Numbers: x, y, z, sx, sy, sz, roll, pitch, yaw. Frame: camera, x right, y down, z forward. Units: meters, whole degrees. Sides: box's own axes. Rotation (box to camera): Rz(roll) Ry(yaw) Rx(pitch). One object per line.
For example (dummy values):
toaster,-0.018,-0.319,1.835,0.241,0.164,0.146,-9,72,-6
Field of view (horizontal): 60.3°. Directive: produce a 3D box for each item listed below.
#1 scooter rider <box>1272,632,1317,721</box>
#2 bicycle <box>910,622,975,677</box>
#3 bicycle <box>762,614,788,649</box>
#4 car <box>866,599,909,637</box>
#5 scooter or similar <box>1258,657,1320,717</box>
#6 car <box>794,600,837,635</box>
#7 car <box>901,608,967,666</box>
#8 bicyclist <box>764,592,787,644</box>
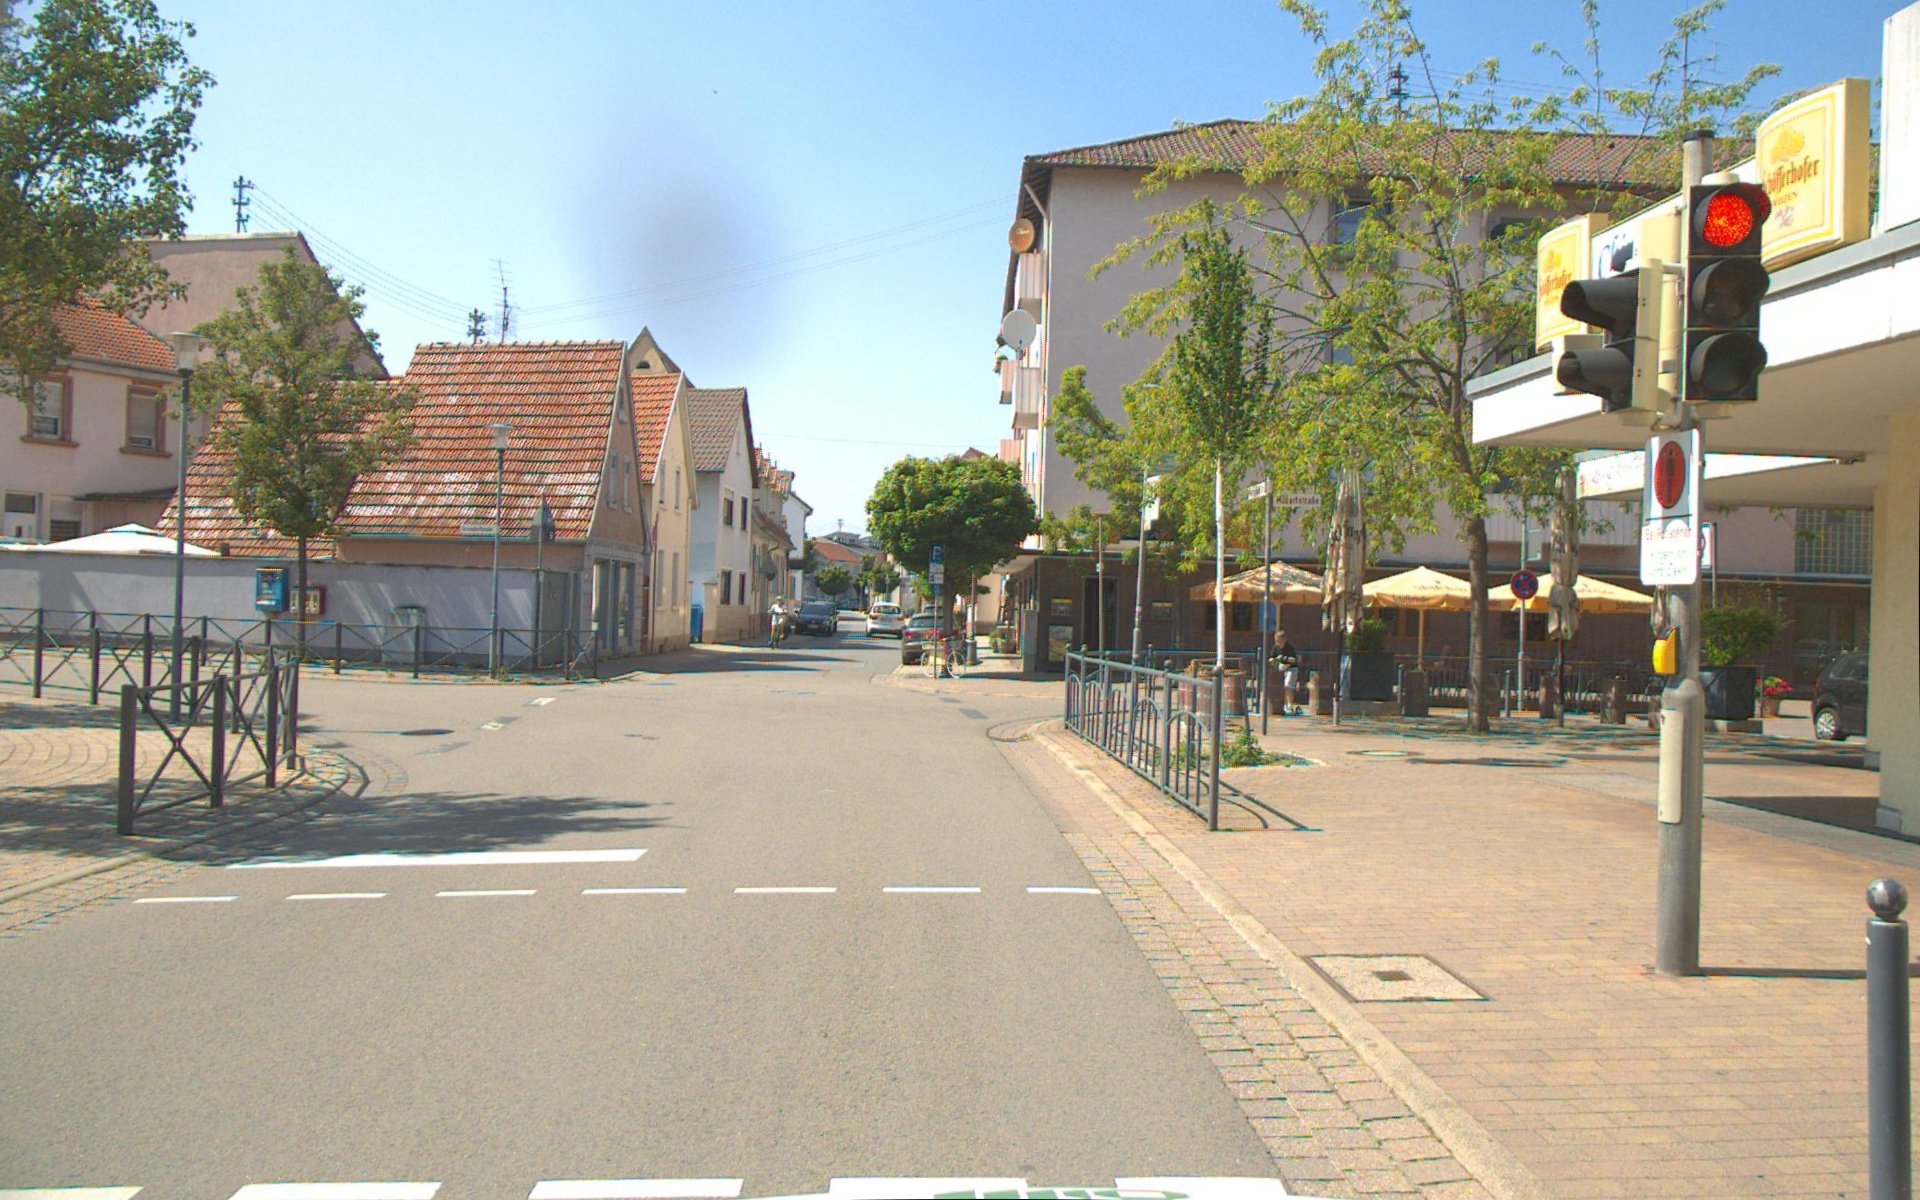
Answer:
scooter rider,5.039,1.144,24.918,0.412,1.308,0.512,2,-1,-31
bicycle,-0.416,1.143,38.590,0.523,1.214,1.648,2,-1,-44
bicycle,-6.189,1.046,55.364,0.660,1.113,1.895,0,0,-1
car,-3.352,0.829,77.296,1.796,1.681,4.000,2,0,0
scooter or similar,4.958,1.307,24.905,0.878,0.889,0.376,2,-1,-31
car,-6.790,0.814,78.075,1.679,1.543,3.786,2,0,0
car,-0.711,1.022,47.359,1.768,1.528,4.000,2,0,0
bicyclist,-6.178,0.603,55.369,0.655,1.720,0.761,1,-1,-1
